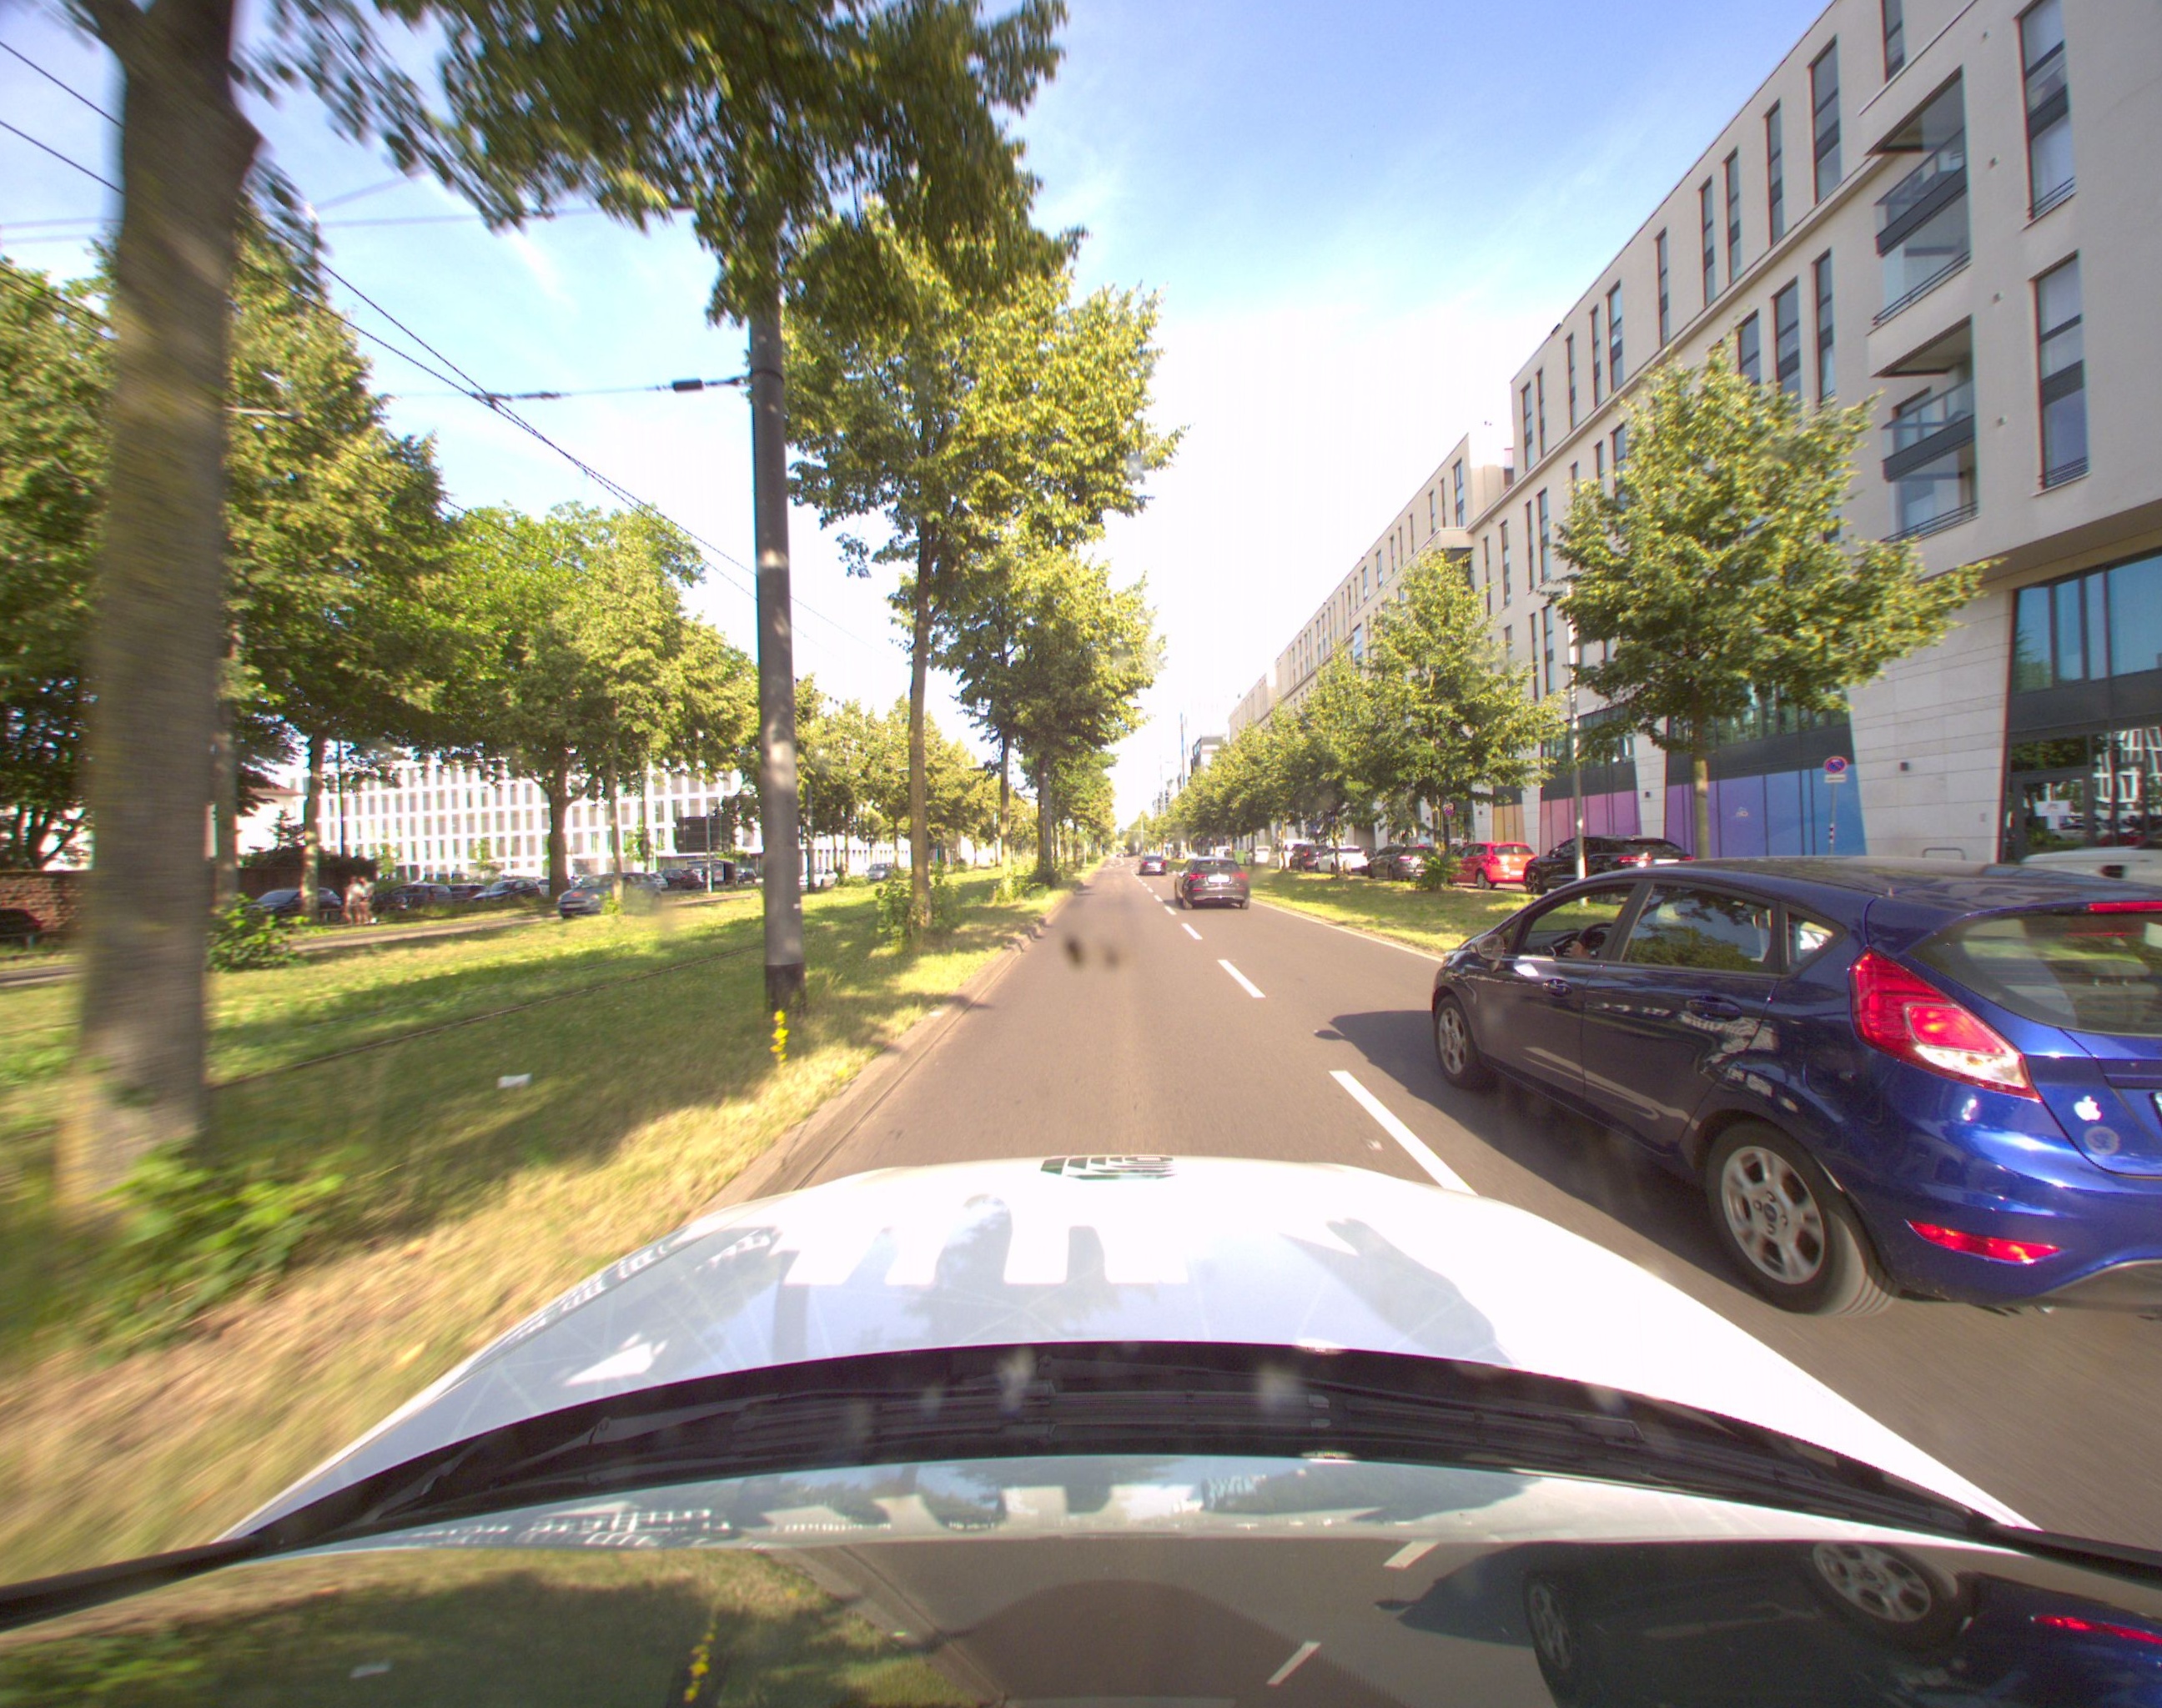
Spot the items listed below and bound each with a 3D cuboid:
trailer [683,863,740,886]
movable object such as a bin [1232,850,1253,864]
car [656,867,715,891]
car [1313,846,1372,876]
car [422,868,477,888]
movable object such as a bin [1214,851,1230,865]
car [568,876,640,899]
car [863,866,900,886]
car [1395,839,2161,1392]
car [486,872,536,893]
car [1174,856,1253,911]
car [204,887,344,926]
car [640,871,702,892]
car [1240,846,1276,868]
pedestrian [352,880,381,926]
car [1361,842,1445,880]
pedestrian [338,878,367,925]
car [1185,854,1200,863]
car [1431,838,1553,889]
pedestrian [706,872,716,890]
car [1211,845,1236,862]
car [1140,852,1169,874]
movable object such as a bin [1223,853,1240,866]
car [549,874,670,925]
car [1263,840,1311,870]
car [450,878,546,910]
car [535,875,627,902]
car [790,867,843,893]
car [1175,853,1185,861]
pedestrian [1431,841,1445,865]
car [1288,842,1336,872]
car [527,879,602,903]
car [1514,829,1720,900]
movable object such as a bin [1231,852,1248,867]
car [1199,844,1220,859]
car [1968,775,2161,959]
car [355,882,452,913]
[{"bbox_3d":[-32.966,1.817,72.705,4.343,2.054,1.760,0,-1,5],"label":"trailer"},{"bbox_3d":[13.817,0.266,69.725,1.385,1.237,1.344,-1,-1,29],"label":"movable object such as a bin"},{"bbox_3d":[-32.657,2.058,67.308,3.976,1.947,1.759,0,-1,2],"label":"car"},{"bbox_3d":[13.046,0.343,40.862,1.611,1.412,4.166,0,-1,0],"label":"car"},{"bbox_3d":[-68.817,2.609,88.863,1.835,2.158,4.511,0,-1,14],"label":"car"},{"bbox_3d":[13.236,0.372,76.573,1.273,1.291,1.177,0,-1,-2],"label":"movable object such as a bin"},{"bbox_3d":[-33.425,2.319,57.076,3.969,1.560,1.858,0,-1,4],"label":"car"},{"bbox_3d":[-14.149,1.549,58.036,1.577,1.393,3.698,0,-1,2],"label":"car"},{"bbox_3d":[3.039,0.693,4.059,1.554,1.424,3.909,0,-1,2],"label":"car"},{"bbox_3d":[-70.913,3.541,101.394,1.791,2.532,5.053,0,-1,18],"label":"car"},{"bbox_3d":[3.674,0.788,23.197,1.767,1.424,3.963,0,-1,3],"label":"car"},{"bbox_3d":[-34.317,2.193,34.815,1.783,1.442,4.355,0,-1,-4],"label":"car"},{"bbox_3d":[-32.271,2.168,64.170,3.976,1.643,1.759,0,-1,2],"label":"car"},{"bbox_3d":[13.924,0.221,64.294,1.725,1.630,4.849,-2,0,0],"label":"car"},{"bbox_3d":[-23.098,1.579,26.336,0.385,1.476,0.602,0,-1,1],"label":"pedestrian"},{"bbox_3d":[12.727,0.285,32.505,1.721,1.432,4.726,0,-1,3],"label":"car"},{"bbox_3d":[-23.577,1.523,26.354,0.385,1.476,0.602,0,-1,1],"label":"pedestrian"},{"bbox_3d":[16.166,0.693,118.122,1.702,1.242,3.906,0,-1,1],"label":"car"},{"bbox_3d":[12.643,0.294,25.359,1.723,1.432,4.113,0,-1,0],"label":"car"},{"bbox_3d":[-30.518,2.219,67.137,0.520,1.480,0.568,0,-1,1],"label":"pedestrian"},{"bbox_3d":[14.928,-0.007,85.377,1.821,1.711,4.295,0,-1,0],"label":"car"},{"bbox_3d":[5.147,0.615,57.432,1.852,1.524,3.787,0,-1,2],"label":"car"},{"bbox_3d":[13.657,0.501,73.985,1.273,1.237,1.191,0,-1,-2],"label":"movable object such as a bin"},{"bbox_3d":[-15.975,1.490,27.845,1.604,1.532,4.134,0,-1,2],"label":"car"},{"bbox_3d":[13.520,0.100,53.674,1.832,1.876,5.030,0,-1,0],"label":"car"},{"bbox_3d":[-28.339,1.906,39.760,1.675,1.435,4.037,0,-1,2],"label":"car"},{"bbox_3d":[-33.389,2.325,54.453,5.037,1.735,1.888,0,-1,4],"label":"car"},{"bbox_3d":[-17.630,1.692,54.524,1.675,1.476,4.815,-4,-1,2],"label":"car"},{"bbox_3d":[16.945,0.540,139.394,1.598,1.370,4.165,0,-1,7],"label":"car"},{"bbox_3d":[23.314,-0.062,53.194,0.595,1.522,0.513,0,-1,-10],"label":"pedestrian"},{"bbox_3d":[13.279,0.204,47.035,1.721,1.650,4.342,0,-1,3],"label":"car"},{"bbox_3d":[-32.848,2.347,51.832,3.630,1.428,1.811,0,-1,4],"label":"car"},{"bbox_3d":[12.488,0.249,19.381,1.863,1.491,4.410,0,-1,-2],"label":"car"},{"bbox_3d":[13.877,0.461,71.289,1.273,1.302,1.191,0,-1,-2],"label":"movable object such as a bin"},{"bbox_3d":[15.333,-0.279,97.496,1.890,1.708,4.678,0,0,0],"label":"car"},{"bbox_3d":[11.903,0.122,7.679,1.887,1.874,4.846,0,-1,2],"label":"car"},{"bbox_3d":[-35.026,2.222,42.127,3.834,1.486,1.748,0,-1,9],"label":"car"}]
